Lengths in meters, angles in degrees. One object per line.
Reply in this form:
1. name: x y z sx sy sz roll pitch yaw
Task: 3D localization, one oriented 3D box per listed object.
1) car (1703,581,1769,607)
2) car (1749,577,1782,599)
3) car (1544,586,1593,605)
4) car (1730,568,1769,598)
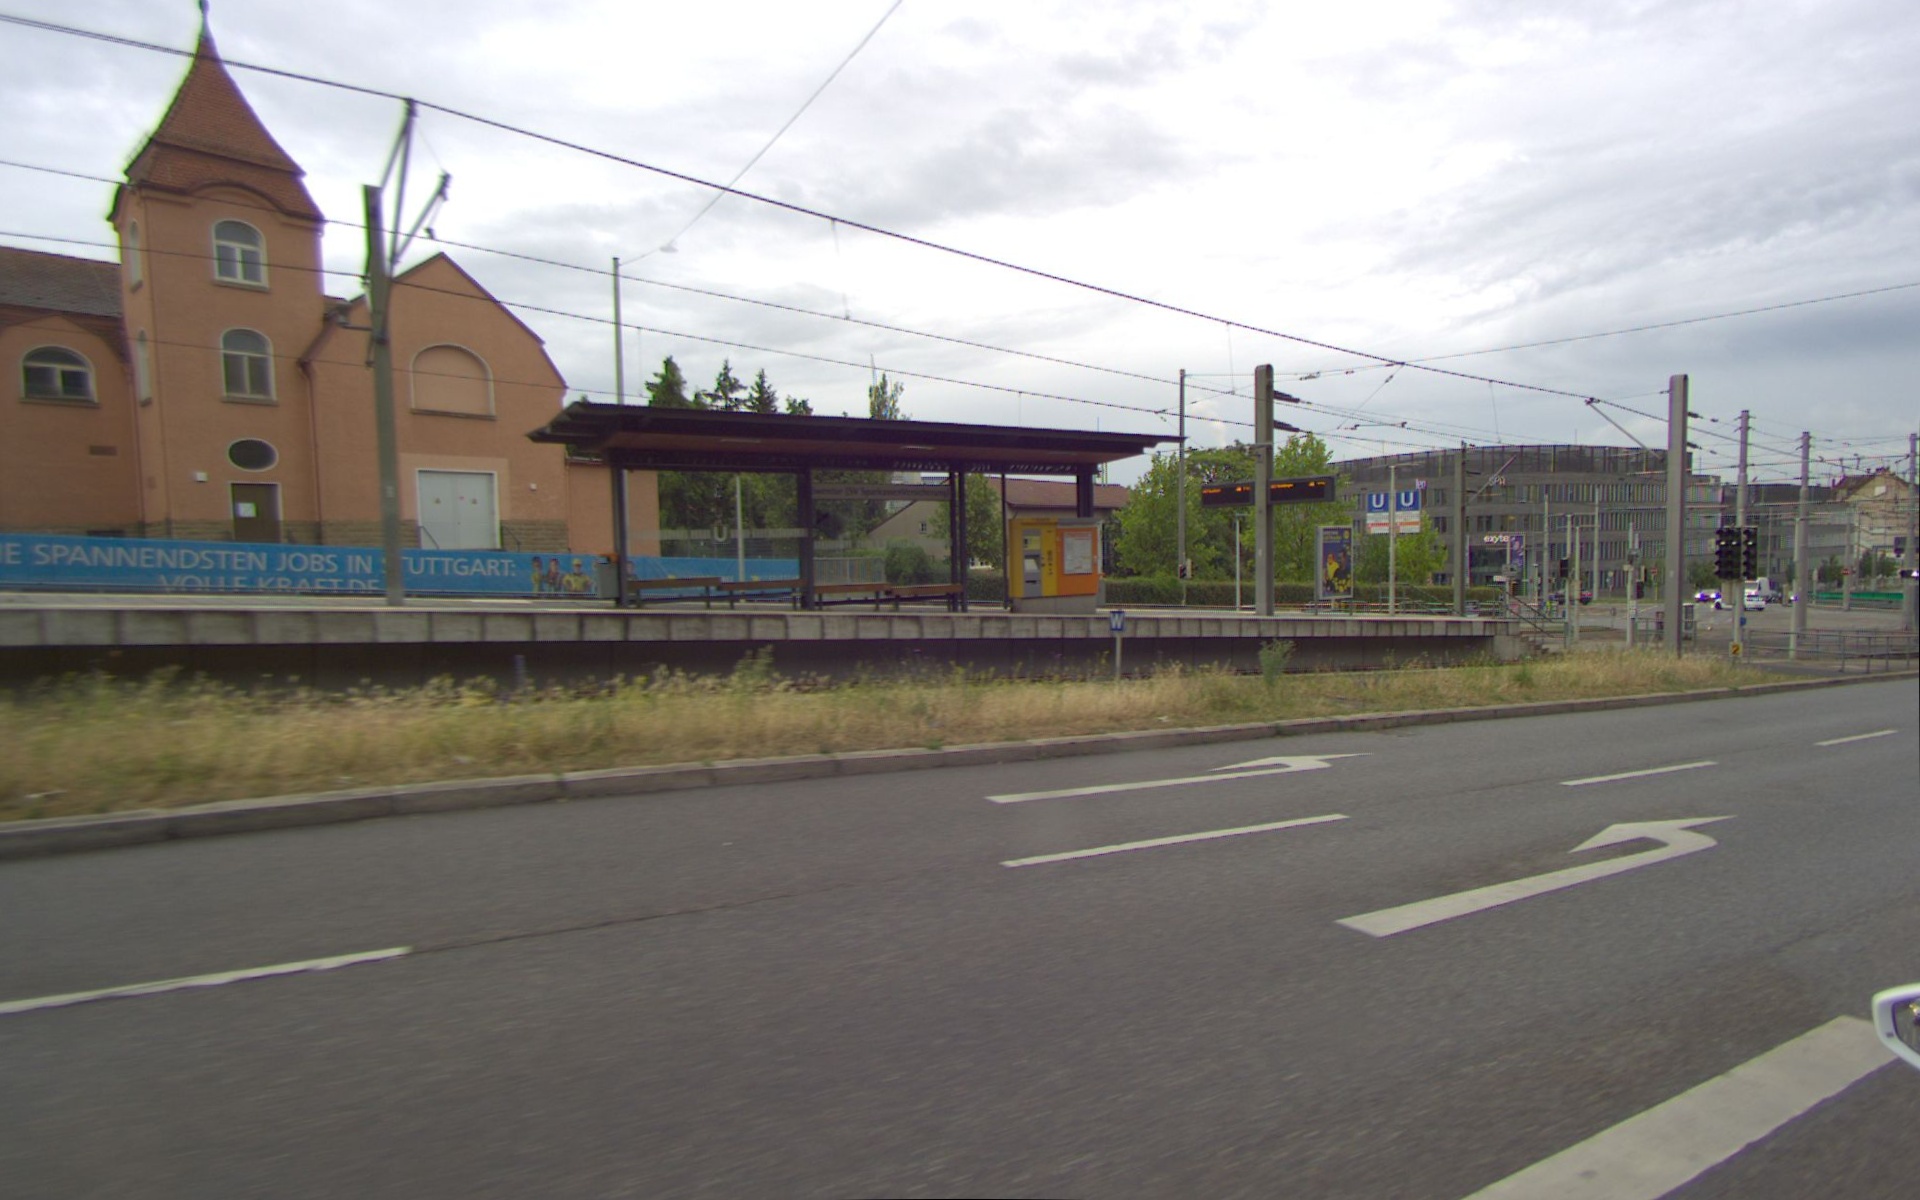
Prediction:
1. car: 65.330 -0.519 84.622 1.966 2.040 3.988 2 0 -14
2. car: 87.906 -1.323 109.634 4.212 2.181 1.977 3 -1 -39
3. car: 61.998 -0.490 102.391 1.966 1.840 3.988 2 0 -14
4. car: 80.349 -1.707 102.169 5.668 2.869 1.978 -1 0 -39
